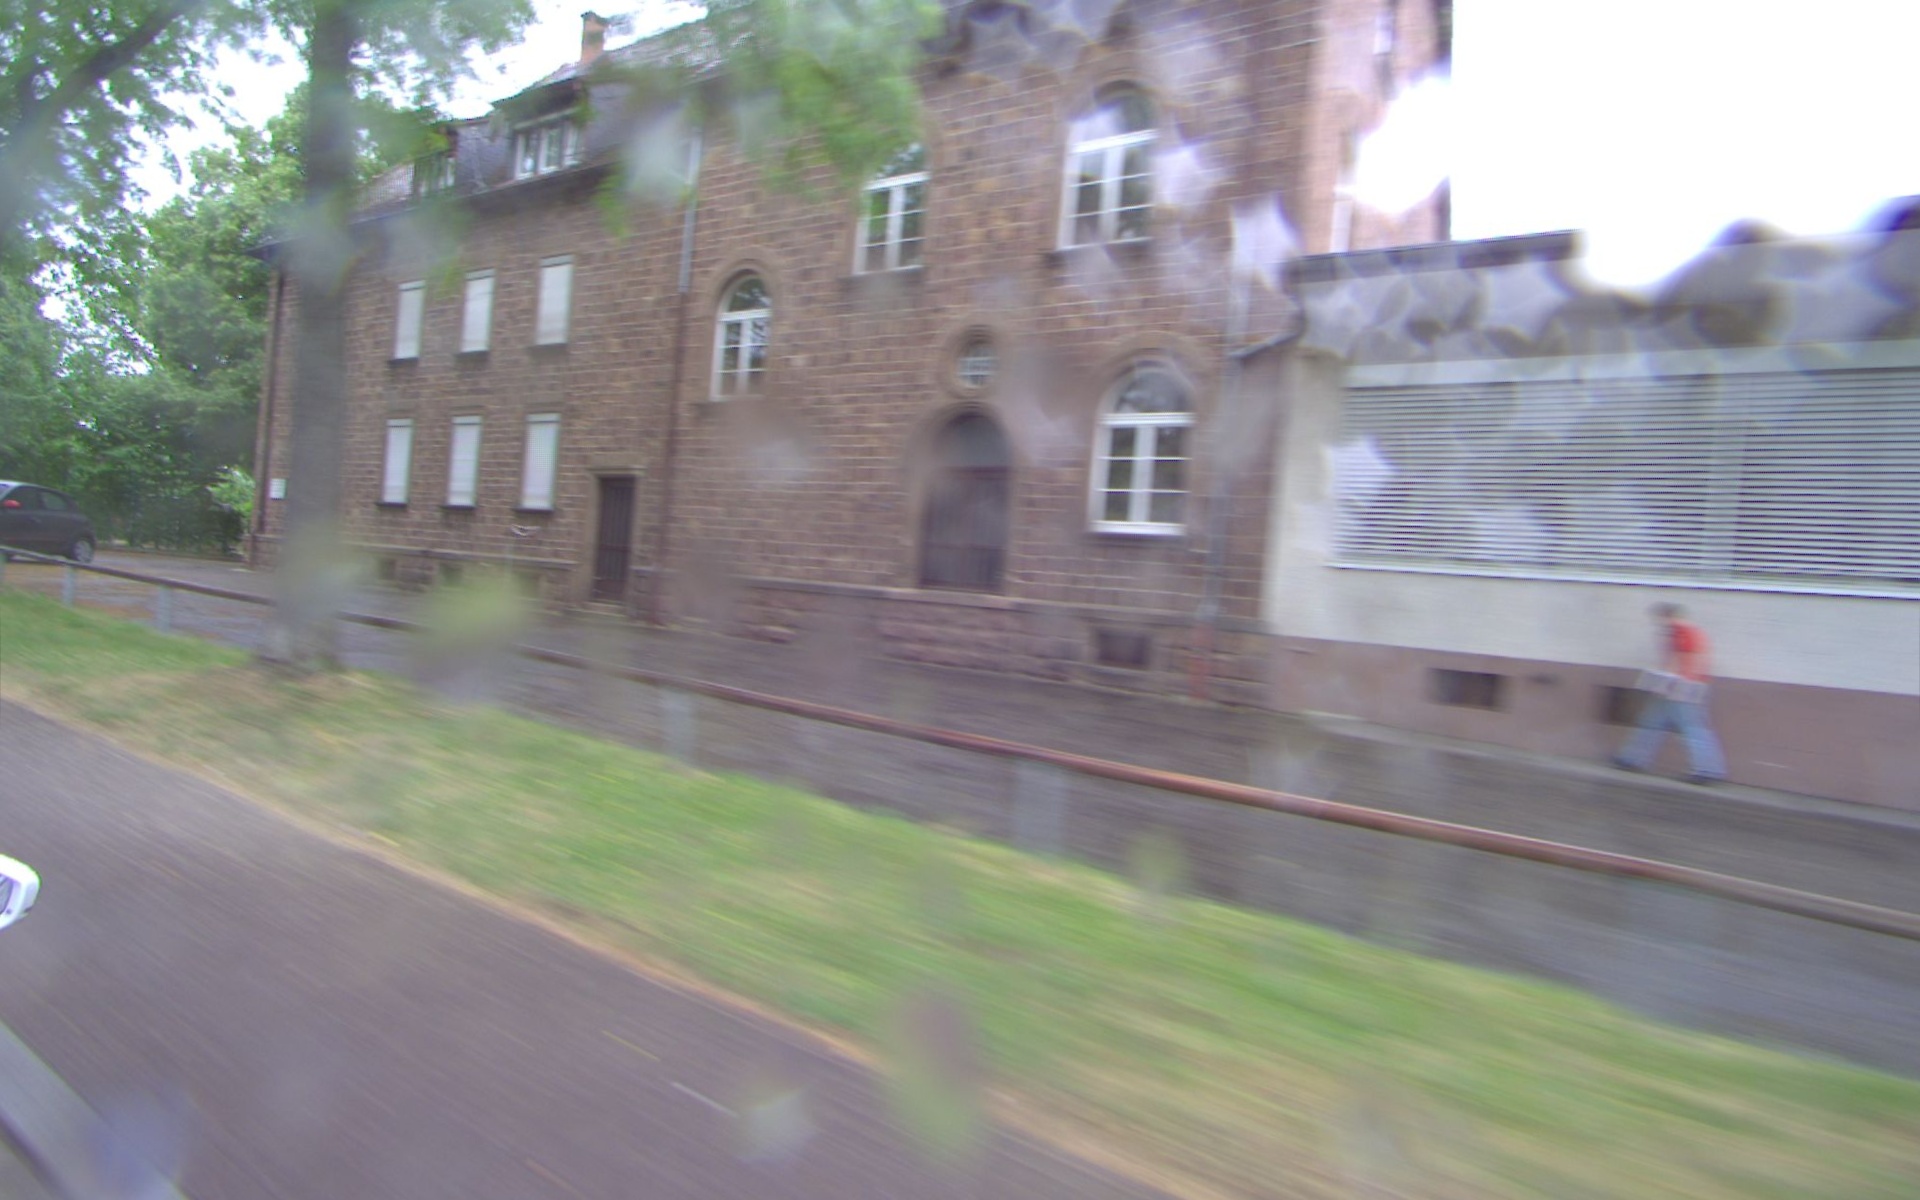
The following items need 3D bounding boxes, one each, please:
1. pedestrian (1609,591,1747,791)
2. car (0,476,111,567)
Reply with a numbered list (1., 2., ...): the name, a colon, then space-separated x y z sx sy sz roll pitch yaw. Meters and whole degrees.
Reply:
1. pedestrian: 6.931 0.860 9.756 0.852 1.777 0.535 8 3 32
2. car: -18.628 -1.577 19.348 1.592 1.570 3.611 6 -1 -4
